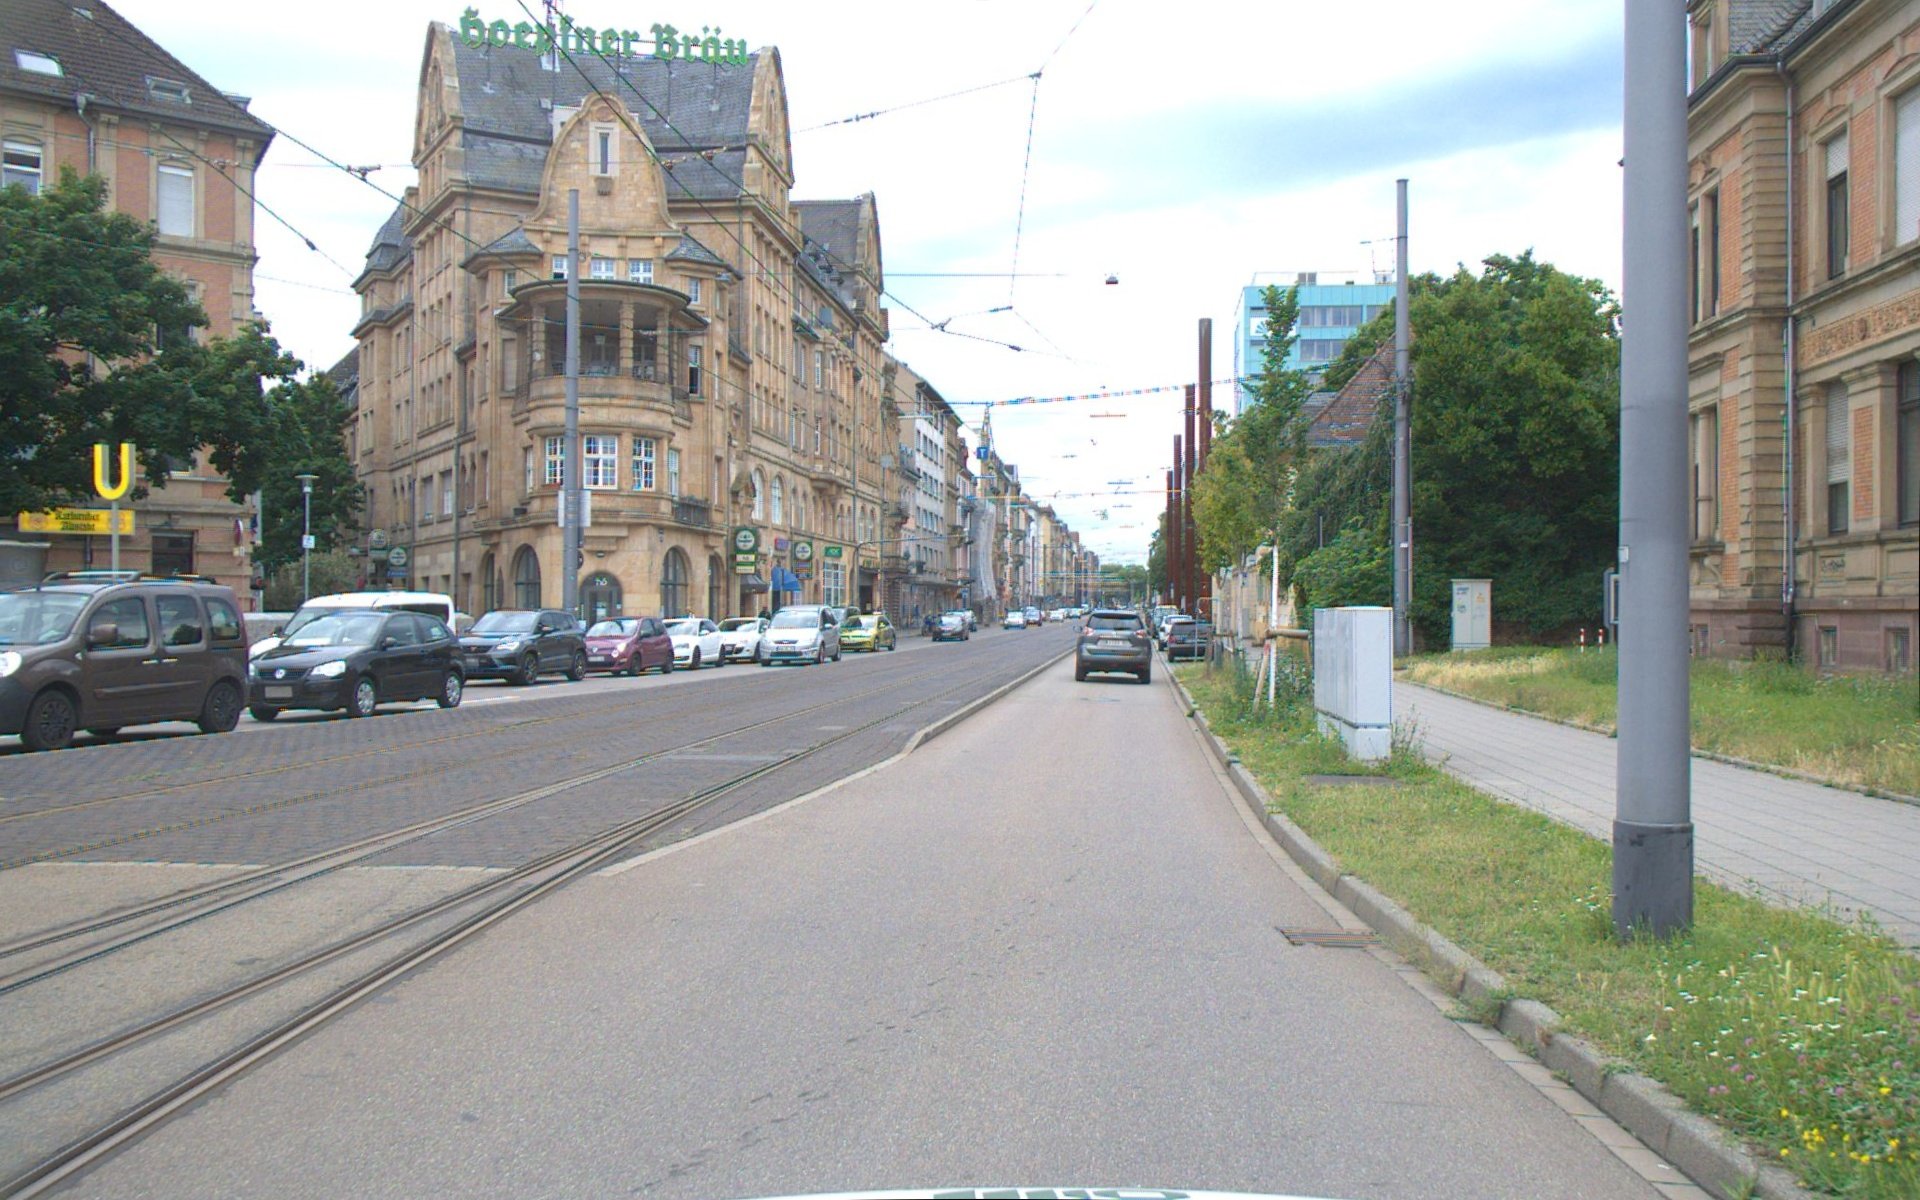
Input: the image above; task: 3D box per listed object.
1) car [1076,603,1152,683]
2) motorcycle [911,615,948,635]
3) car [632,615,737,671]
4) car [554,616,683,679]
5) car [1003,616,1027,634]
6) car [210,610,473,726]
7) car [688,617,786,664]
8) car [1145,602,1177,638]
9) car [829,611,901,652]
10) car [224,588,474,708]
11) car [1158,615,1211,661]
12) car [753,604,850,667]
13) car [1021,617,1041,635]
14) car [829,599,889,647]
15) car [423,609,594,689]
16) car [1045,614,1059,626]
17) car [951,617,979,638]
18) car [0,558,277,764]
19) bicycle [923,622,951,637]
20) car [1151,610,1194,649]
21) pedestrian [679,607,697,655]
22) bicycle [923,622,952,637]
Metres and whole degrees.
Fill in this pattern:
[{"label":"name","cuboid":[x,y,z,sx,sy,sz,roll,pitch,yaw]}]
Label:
[{"label":"car","cuboid":[3.777,0.999,40.274,1.712,1.786,3.926,2,0,6]},{"label":"motorcycle","cuboid":[-2.027,1.645,108.447,2.312,1.325,0.874,0,-1,-31]},{"label":"car","cuboid":[-7.700,1.173,46.651,1.709,1.404,4.365,-3,-1,7]},{"label":"car","cuboid":[-8.412,1.140,41.113,1.823,1.423,3.898,-2,-1,9]},{"label":"car","cuboid":[4.765,2.136,143.090,1.722,1.475,4.617,0,0,6]},{"label":"car","cuboid":[-8.494,0.886,23.113,1.653,1.467,4.003,0,-1,10]},{"label":"car","cuboid":[-6.913,1.231,51.671,1.885,1.404,4.261,0,0,9]},{"label":"car","cuboid":[12.770,1.252,105.238,1.812,2.152,4.987,-3,-1,6]},{"label":"car","cuboid":[-3.746,1.231,65.976,1.858,1.537,4.432,-1,0,10]},{"label":"car","cuboid":[-10.719,0.798,29.506,1.823,1.949,5.105,0,0,11]},{"label":"car","cuboid":[7.624,1.268,56.380,1.603,1.459,3.933,-2,-1,5]},{"label":"car","cuboid":[-4.649,1.016,49.169,1.823,1.736,4.912,-1,-1,7]},{"label":"car","cuboid":[7.018,2.569,163.003,1.722,1.701,4.617,0,0,6]},{"label":"car","cuboid":[-4.484,0.995,74.224,1.859,2.012,5.100,-2,-1,5]},{"label":"car","cuboid":[-9.584,0.999,35.472,1.823,1.561,4.306,-2,-1,11]},{"label":"car","cuboid":[11.679,2.563,210.127,1.651,1.445,4.137,0,0,6]},{"label":"car","cuboid":[0.428,2.103,126.714,1.738,1.531,4.404,0,0,6]},{"label":"car","cuboid":[-9.416,0.600,17.891,1.653,1.934,4.390,0,-1,10]},{"label":"bicycle","cuboid":[-1.554,1.982,110.780,1.882,1.019,0.463,0,-1,-2]},{"label":"car","cuboid":[9.405,1.293,73.519,1.718,1.602,3.933,-2,-1,5]},{"label":"pedestrian","cuboid":[-9.852,1.124,59.886,0.618,1.749,0.532,0,-1,-8]},{"label":"bicycle","cuboid":[-1.505,1.977,111.538,1.926,1.019,0.463,0,-1,-2]}]
